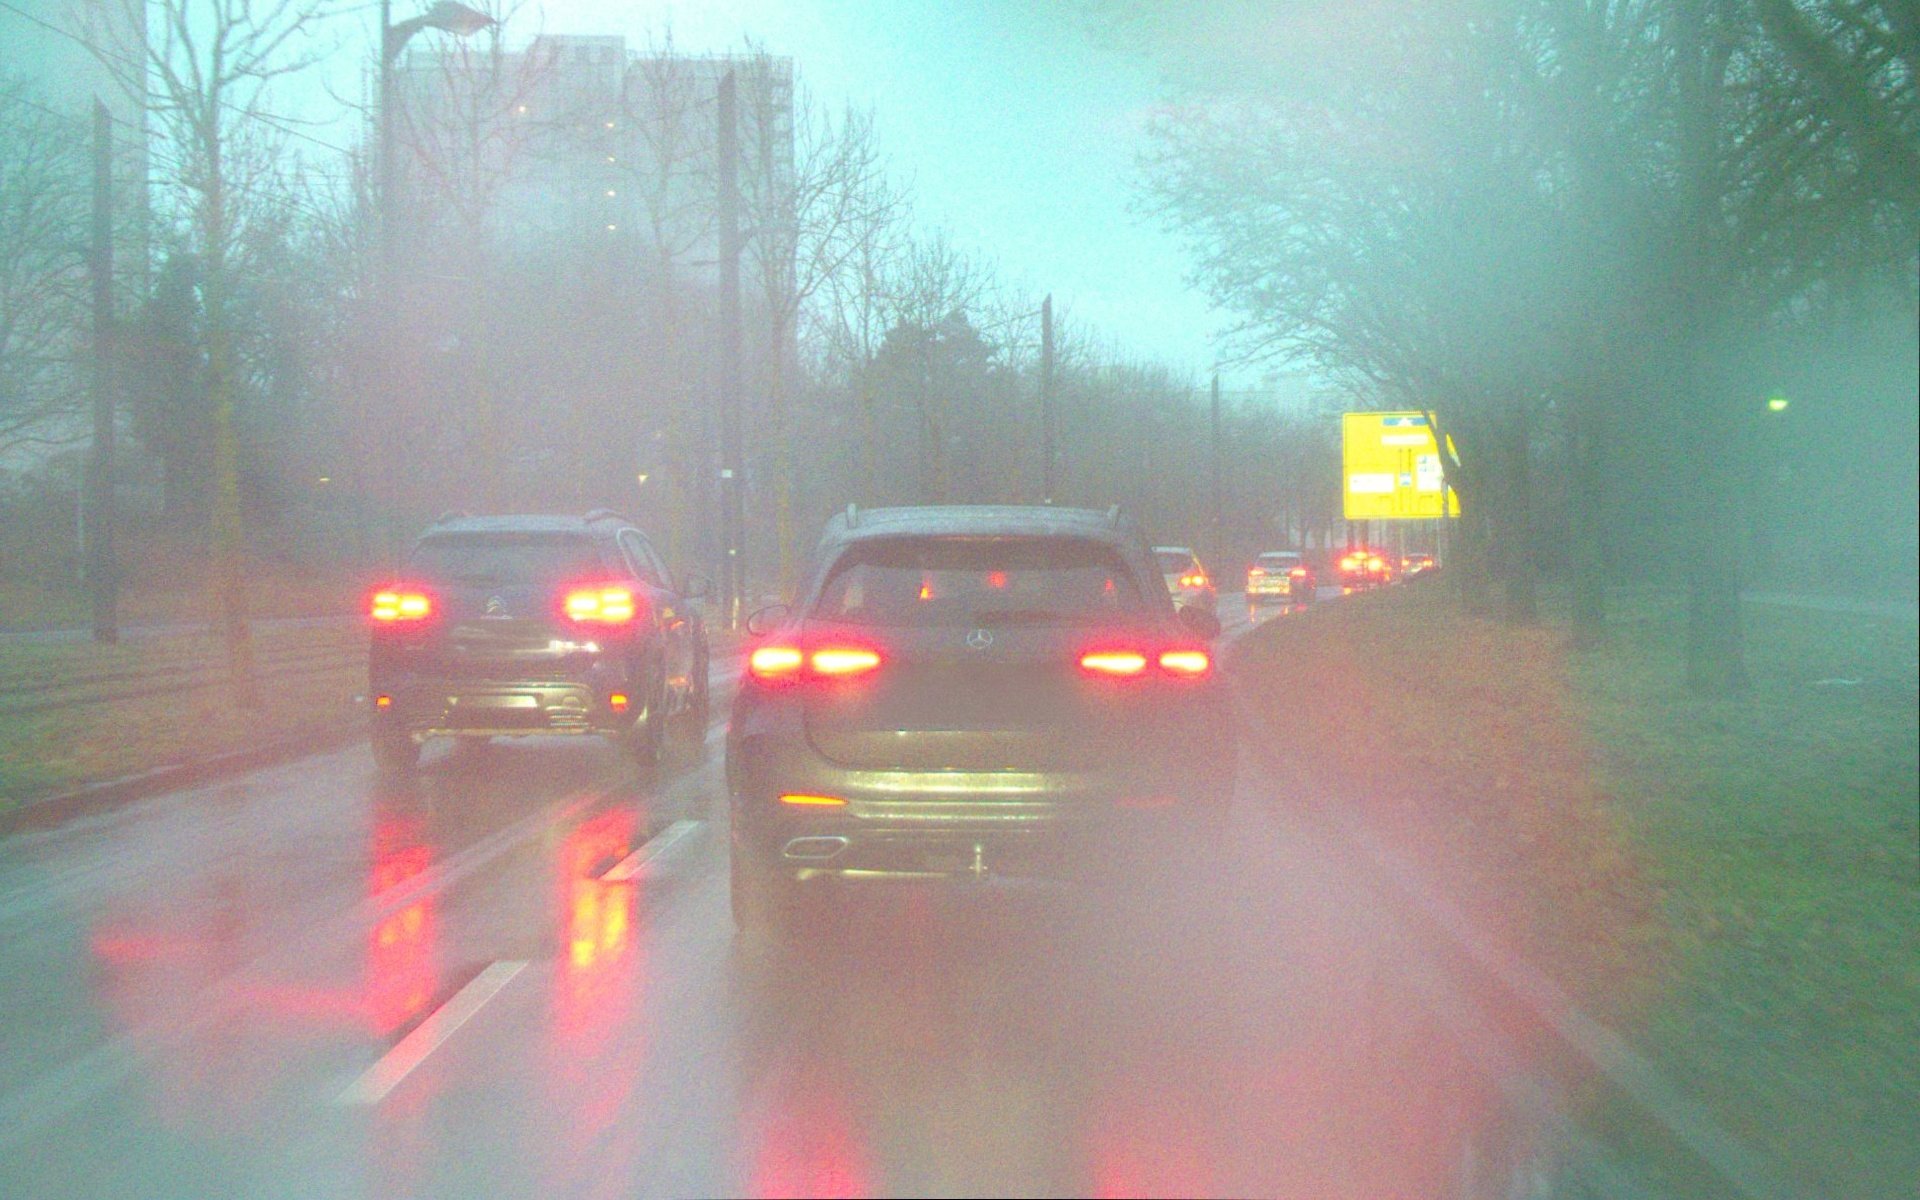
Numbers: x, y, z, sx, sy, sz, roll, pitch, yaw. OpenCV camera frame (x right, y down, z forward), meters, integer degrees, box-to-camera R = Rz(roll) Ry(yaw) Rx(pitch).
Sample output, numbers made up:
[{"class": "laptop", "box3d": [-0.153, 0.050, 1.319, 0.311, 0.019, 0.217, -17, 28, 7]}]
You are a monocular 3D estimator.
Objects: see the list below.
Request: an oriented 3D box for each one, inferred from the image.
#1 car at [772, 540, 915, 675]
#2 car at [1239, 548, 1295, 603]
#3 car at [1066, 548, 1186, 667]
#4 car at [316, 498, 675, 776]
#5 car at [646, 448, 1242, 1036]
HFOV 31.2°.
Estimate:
[{"class": "car", "box3d": [-1.602, 0.071, 46.476, 1.827, 1.733, 3.806, 1, 1, -3]}, {"class": "car", "box3d": [8.966, -0.702, 100.247, 1.535, 1.508, 3.341, 1, -1, 7]}, {"class": "car", "box3d": [2.696, 0.134, 56.689, 1.856, 1.885, 4.000, 1, -1, 1]}, {"class": "car", "box3d": [-3.054, 0.247, 23.470, 1.993, 1.706, 4.325, 1, -1, -2]}, {"class": "car", "box3d": [-0.054, 0.497, 13.656, 1.993, 1.969, 4.068, 1, -1, 0]}]
